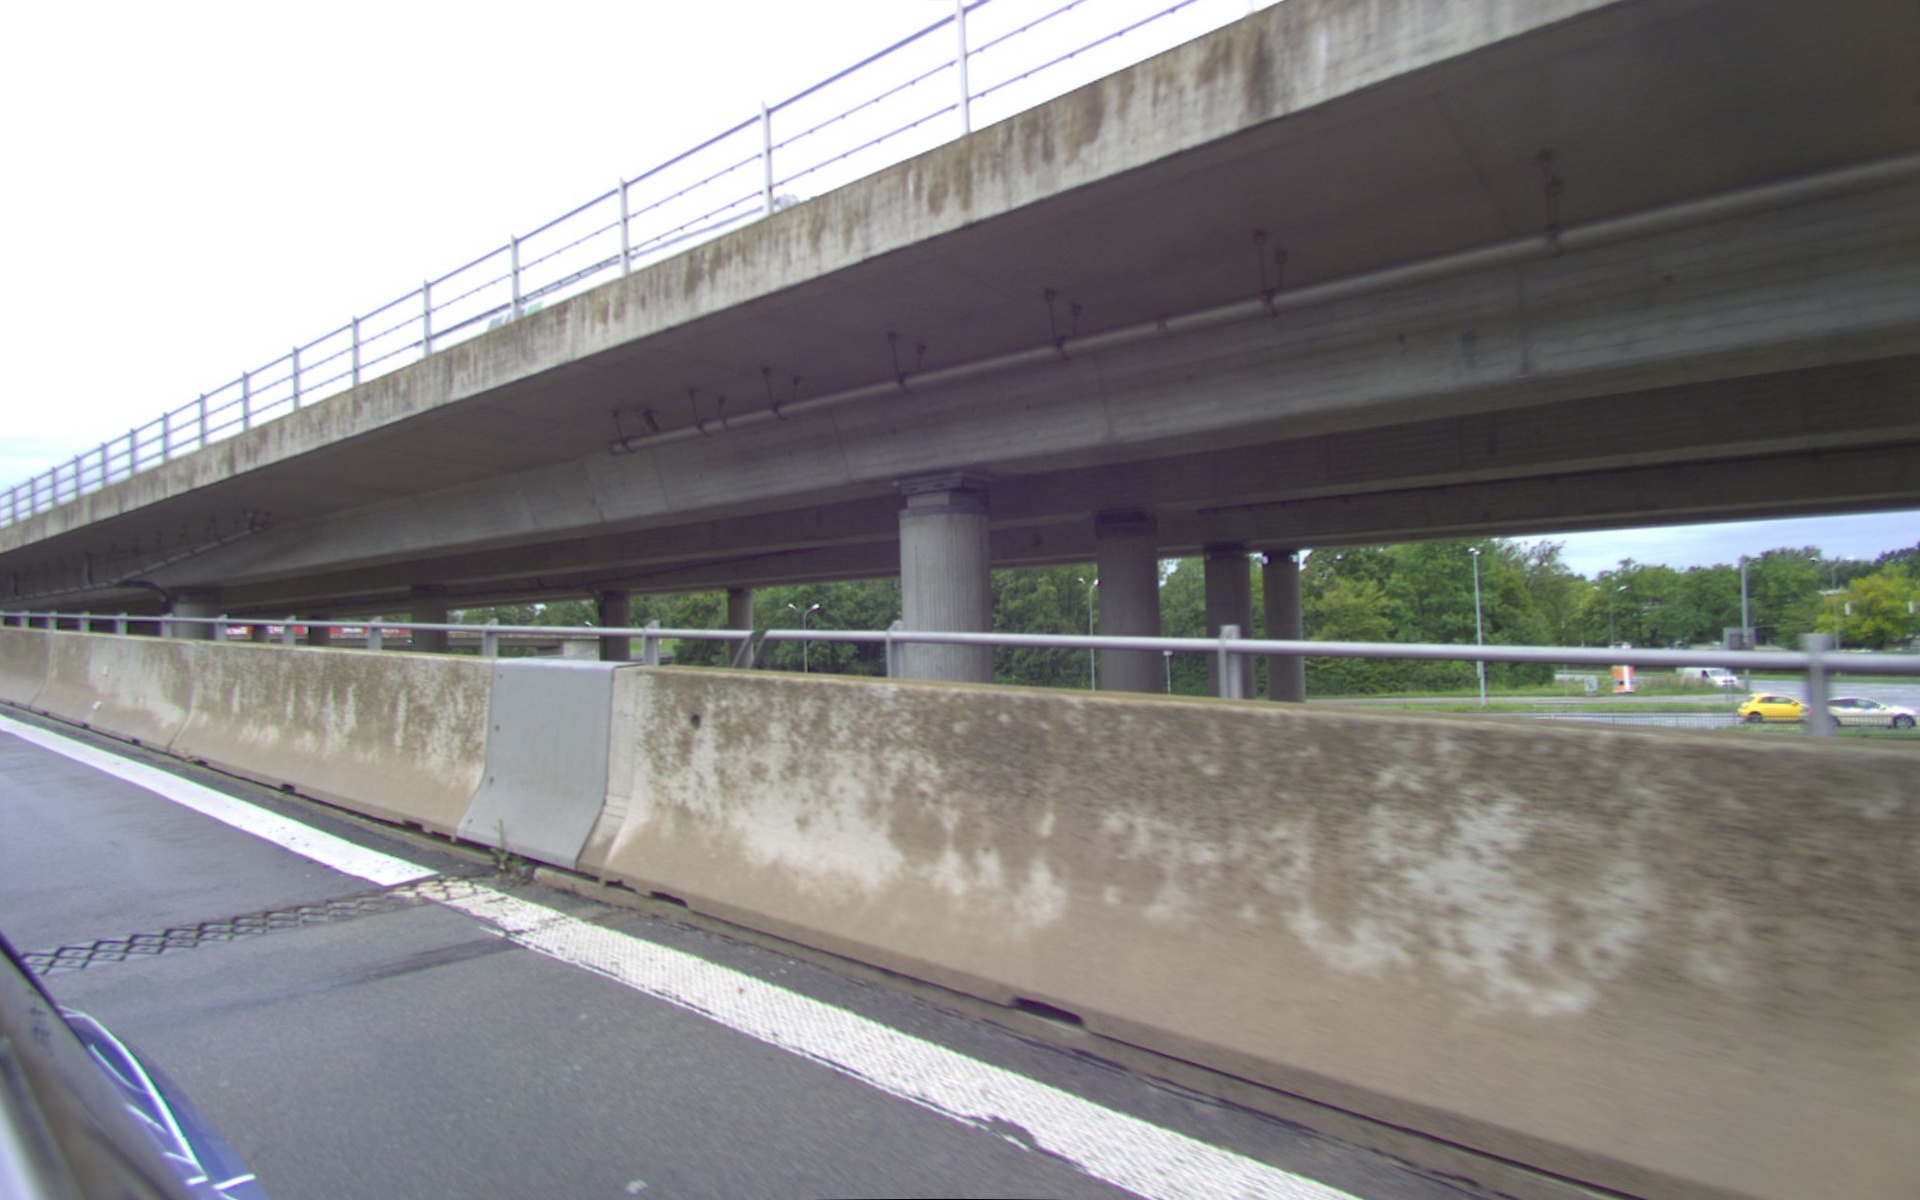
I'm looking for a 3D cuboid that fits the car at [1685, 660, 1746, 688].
[{"bbox_3d":[62.911,6.127,84.359,1.975,2.029,4.549,1,0,6],"label":"car"}]

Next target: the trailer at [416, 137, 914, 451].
[{"bbox_3d":[-7.349,-6.013,22.543,14.033,3.323,2.634,-3,-1,37],"label":"trailer"}]

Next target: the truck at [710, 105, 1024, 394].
[{"bbox_3d":[-1.779,-6.009,18.398,5.184,3.270,2.565,-4,-1,36],"label":"truck"}]

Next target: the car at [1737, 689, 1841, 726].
[{"bbox_3d":[43.957,5.670,53.778,3.984,1.630,1.830,-2,1,30],"label":"car"}]

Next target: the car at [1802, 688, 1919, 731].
[{"bbox_3d":[44.168,5.324,49.448,4.349,1.763,1.792,-2,1,30],"label":"car"}]
